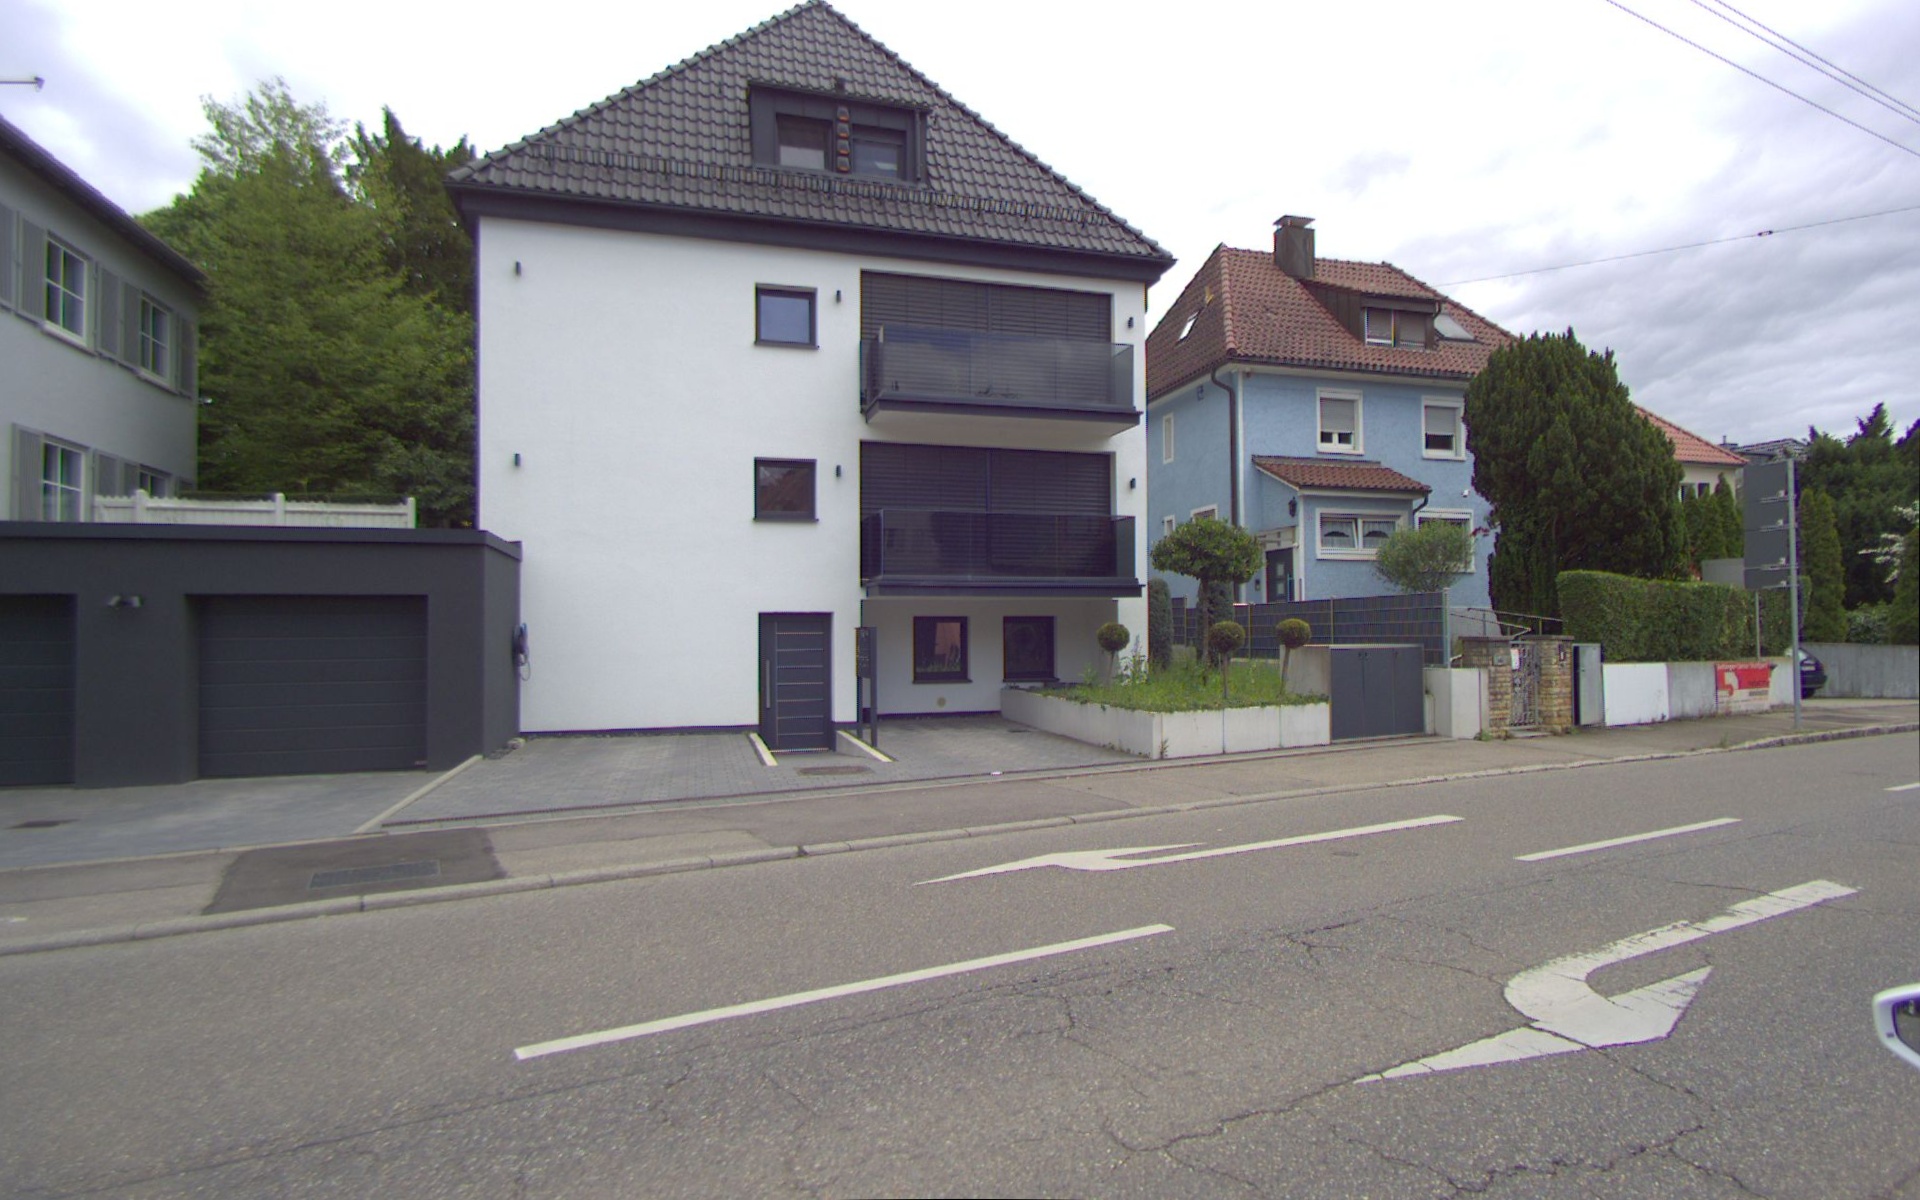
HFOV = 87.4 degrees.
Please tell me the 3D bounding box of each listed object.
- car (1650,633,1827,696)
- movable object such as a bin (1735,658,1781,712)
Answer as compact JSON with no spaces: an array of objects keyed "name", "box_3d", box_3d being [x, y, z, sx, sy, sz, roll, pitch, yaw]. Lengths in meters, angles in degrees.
[{"name":"car","box_3d":[21.415,1.781,27.800,1.615,1.612,3.590,1,-4,-15]},{"name":"movable object such as a bin","box_3d":[15.145,1.597,19.063,0.533,0.986,0.505,1,-2,-27]}]
